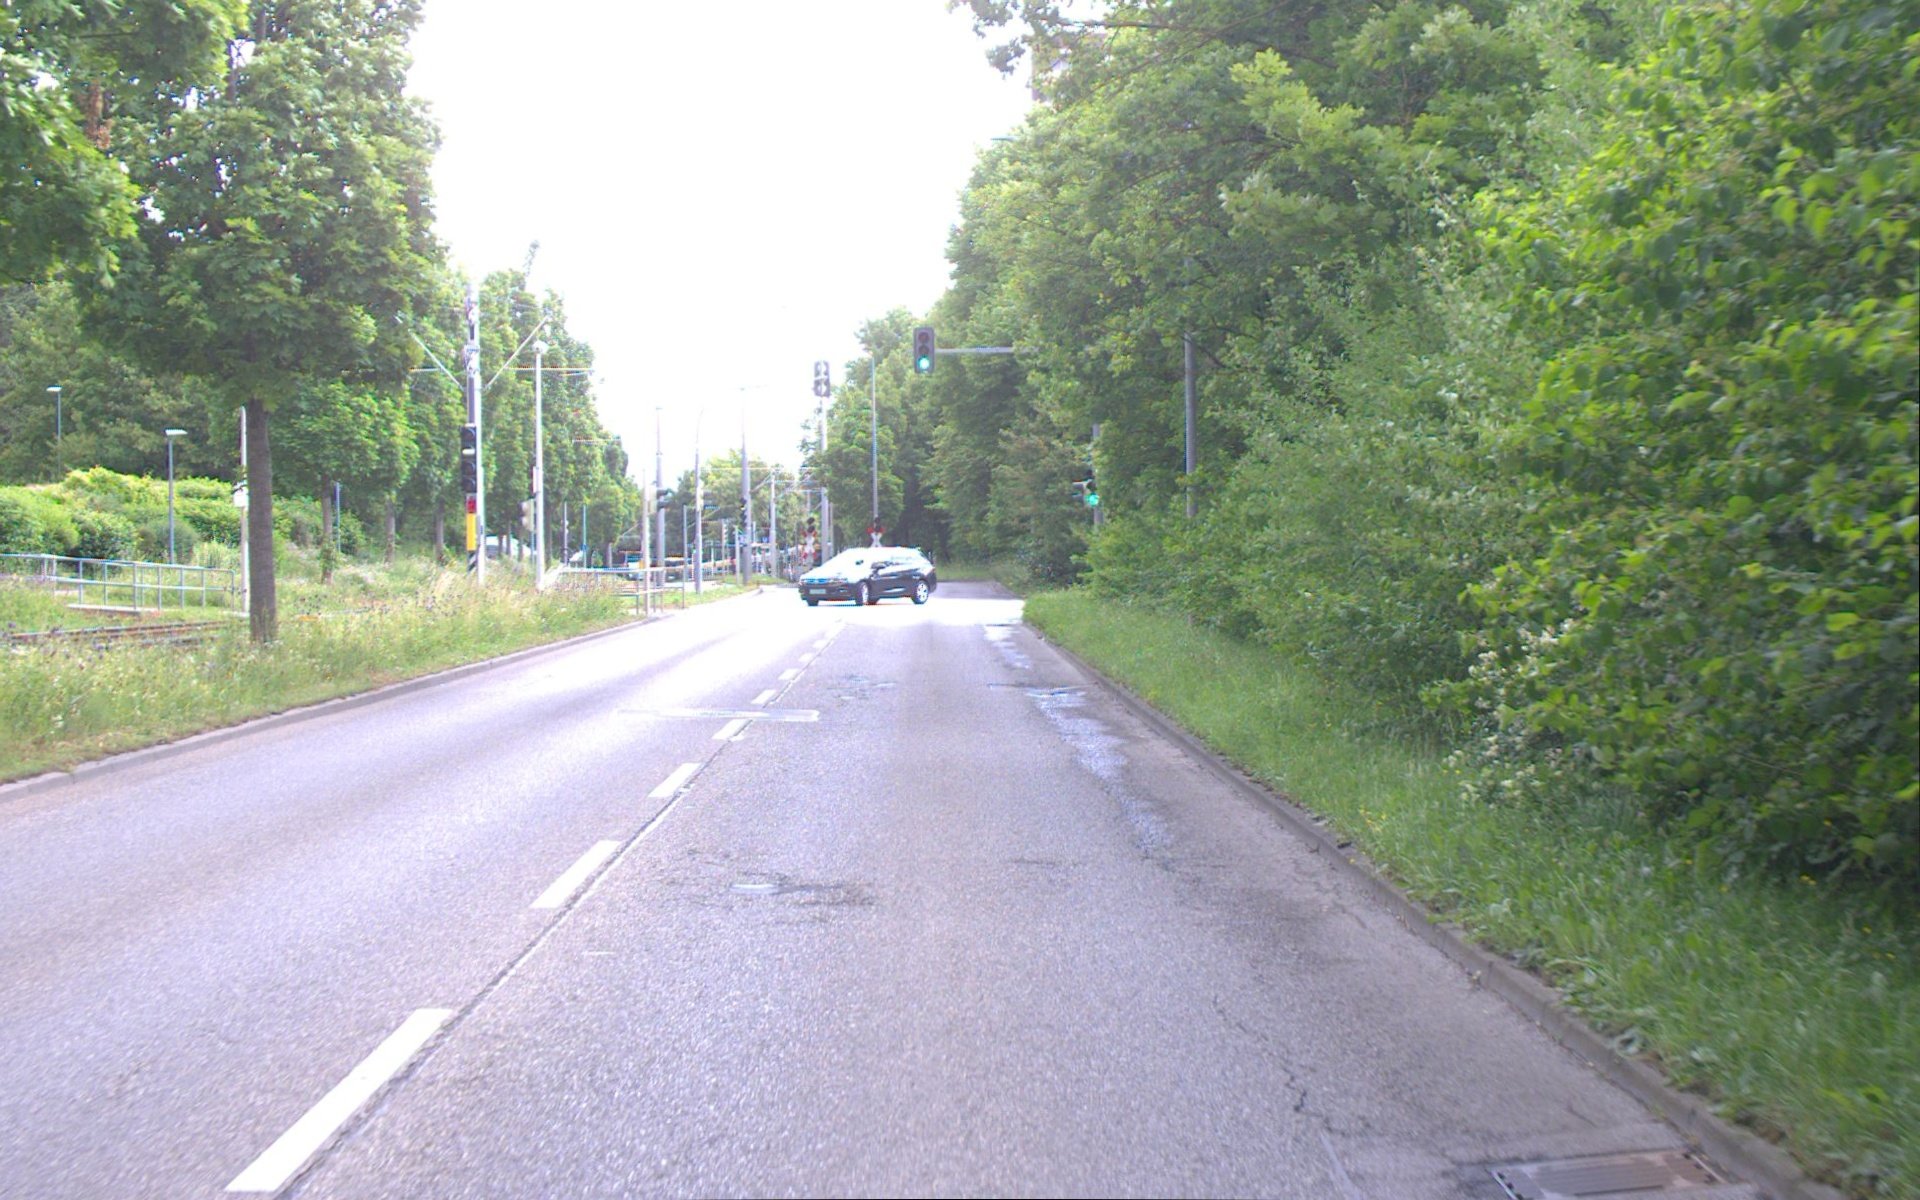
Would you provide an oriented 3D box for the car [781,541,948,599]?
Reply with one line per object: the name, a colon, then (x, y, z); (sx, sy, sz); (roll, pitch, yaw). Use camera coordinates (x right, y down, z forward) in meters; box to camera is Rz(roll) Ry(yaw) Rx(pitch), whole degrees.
car: (-2.492, -0.797, 90.104); (4.244, 1.465, 1.855); (-1, 2, -44)
